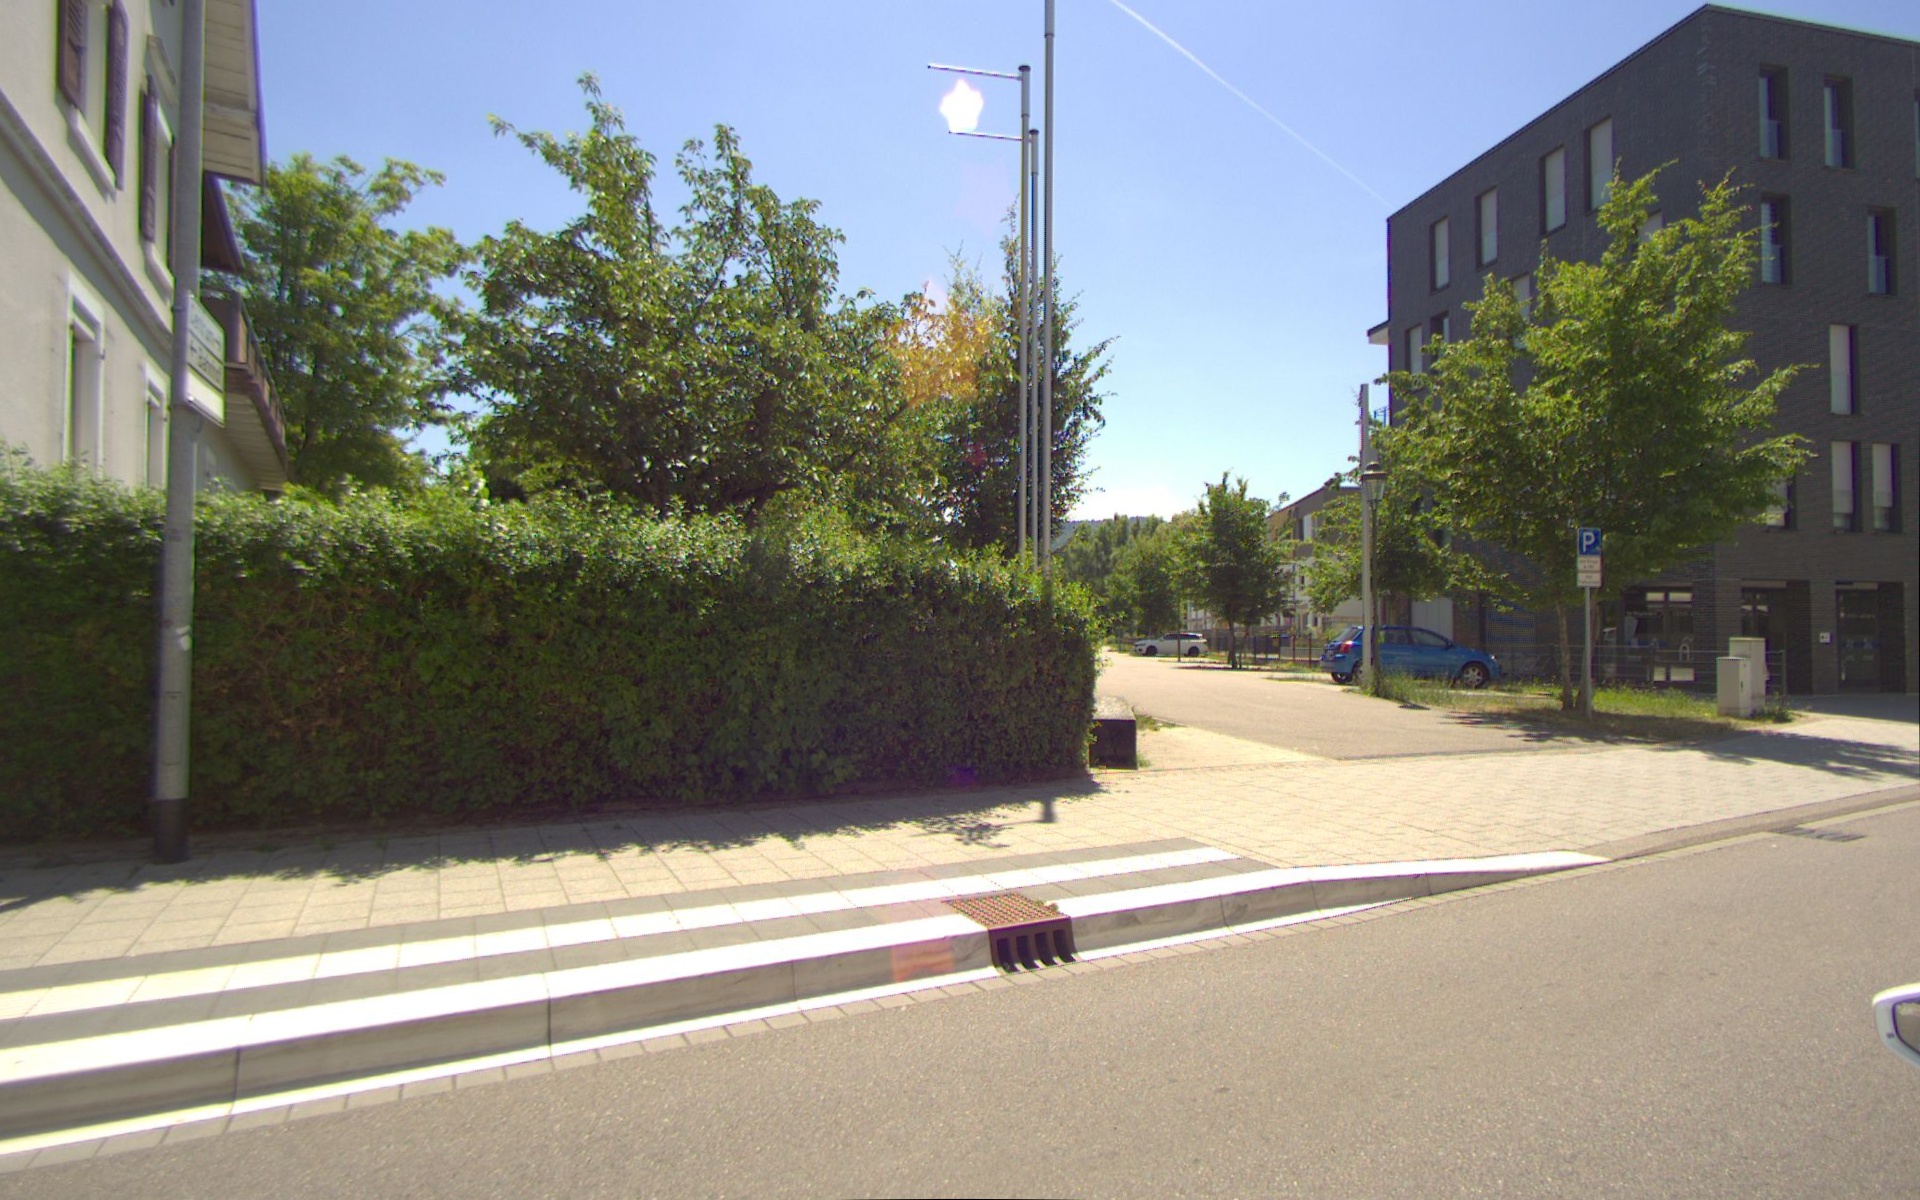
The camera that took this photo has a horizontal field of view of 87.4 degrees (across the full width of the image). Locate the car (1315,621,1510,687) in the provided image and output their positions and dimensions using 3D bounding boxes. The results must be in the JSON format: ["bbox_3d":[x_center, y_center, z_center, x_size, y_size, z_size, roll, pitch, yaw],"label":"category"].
[{"bbox_3d":[11.003,1.327,24.615,3.999,1.505,1.701,1,-3,2],"label":"car"}]

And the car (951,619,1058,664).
[{"bbox_3d":[1.610,1.454,35.890,3.691,1.511,1.692,1,-1,4],"label":"car"}]

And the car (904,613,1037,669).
[{"bbox_3d":[0.286,1.155,28.738,3.693,1.511,1.691,1,-1,-1],"label":"car"}]

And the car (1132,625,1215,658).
[{"bbox_3d":[13.118,2.543,61.922,4.688,1.886,2.001,1,-1,1],"label":"car"}]
